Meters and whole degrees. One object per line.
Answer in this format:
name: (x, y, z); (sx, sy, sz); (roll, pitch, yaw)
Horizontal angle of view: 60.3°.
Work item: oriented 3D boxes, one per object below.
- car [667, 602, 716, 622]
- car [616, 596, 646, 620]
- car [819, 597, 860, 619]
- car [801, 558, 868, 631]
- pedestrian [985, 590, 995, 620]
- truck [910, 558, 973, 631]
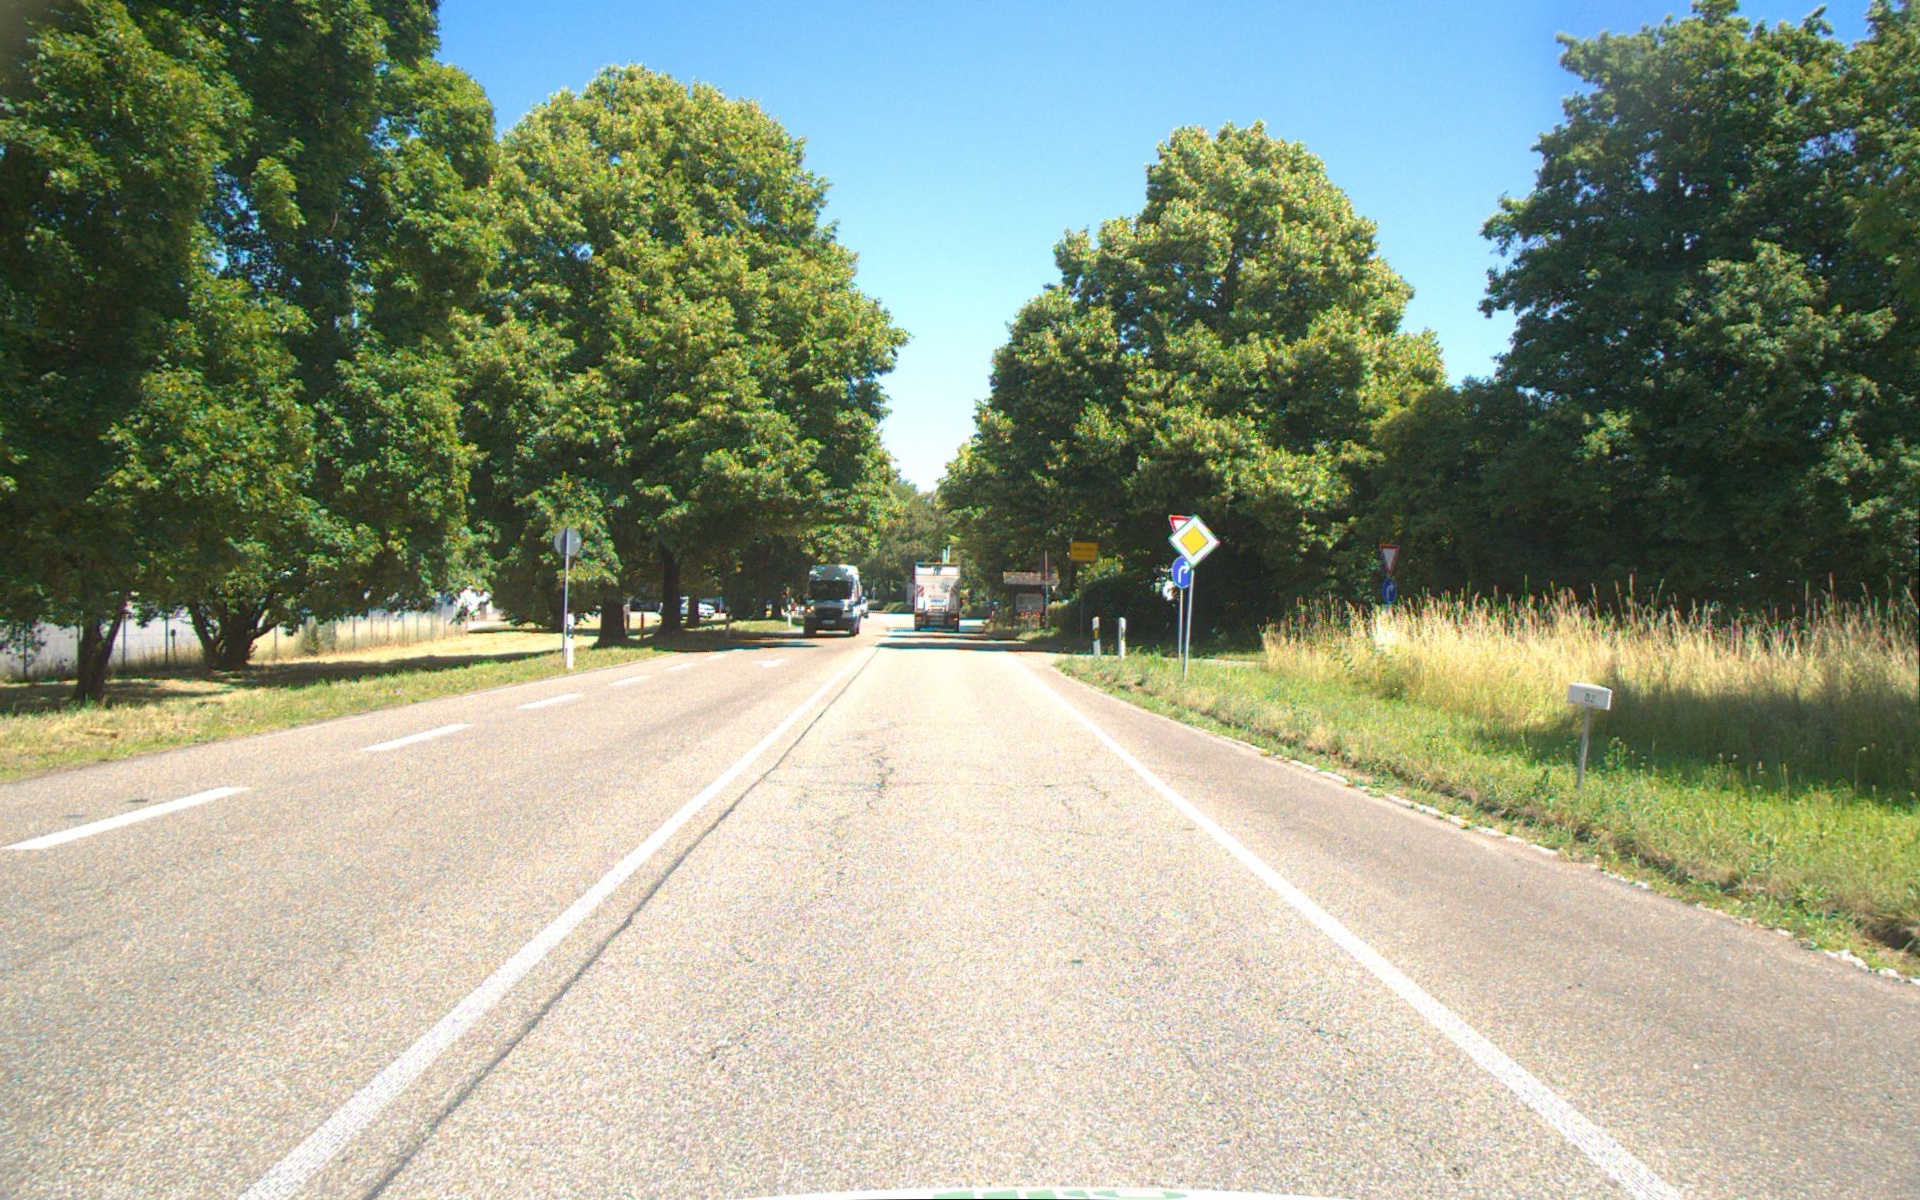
car: (-19.287, 0.834, 118.642); (3.356, 1.386, 1.333); (0, 0, 28)
car: (-22.828, 0.565, 114.616); (1.708, 1.613, 3.983); (0, 0, -16)
car: (-10.467, 0.698, 143.527); (1.967, 1.889, 5.276); (0, 0, -24)
car: (-4.826, -0.178, 64.319); (2.031, 2.673, 6.784); (0, 0, 0)
pedestrian: (1.848, 0.304, 101.761); (0.536, 1.807, 0.577); (0, -1, 3)
truck: (-0.797, -0.273, 74.405); (2.481, 3.190, 5.363); (0, 1, 3)
